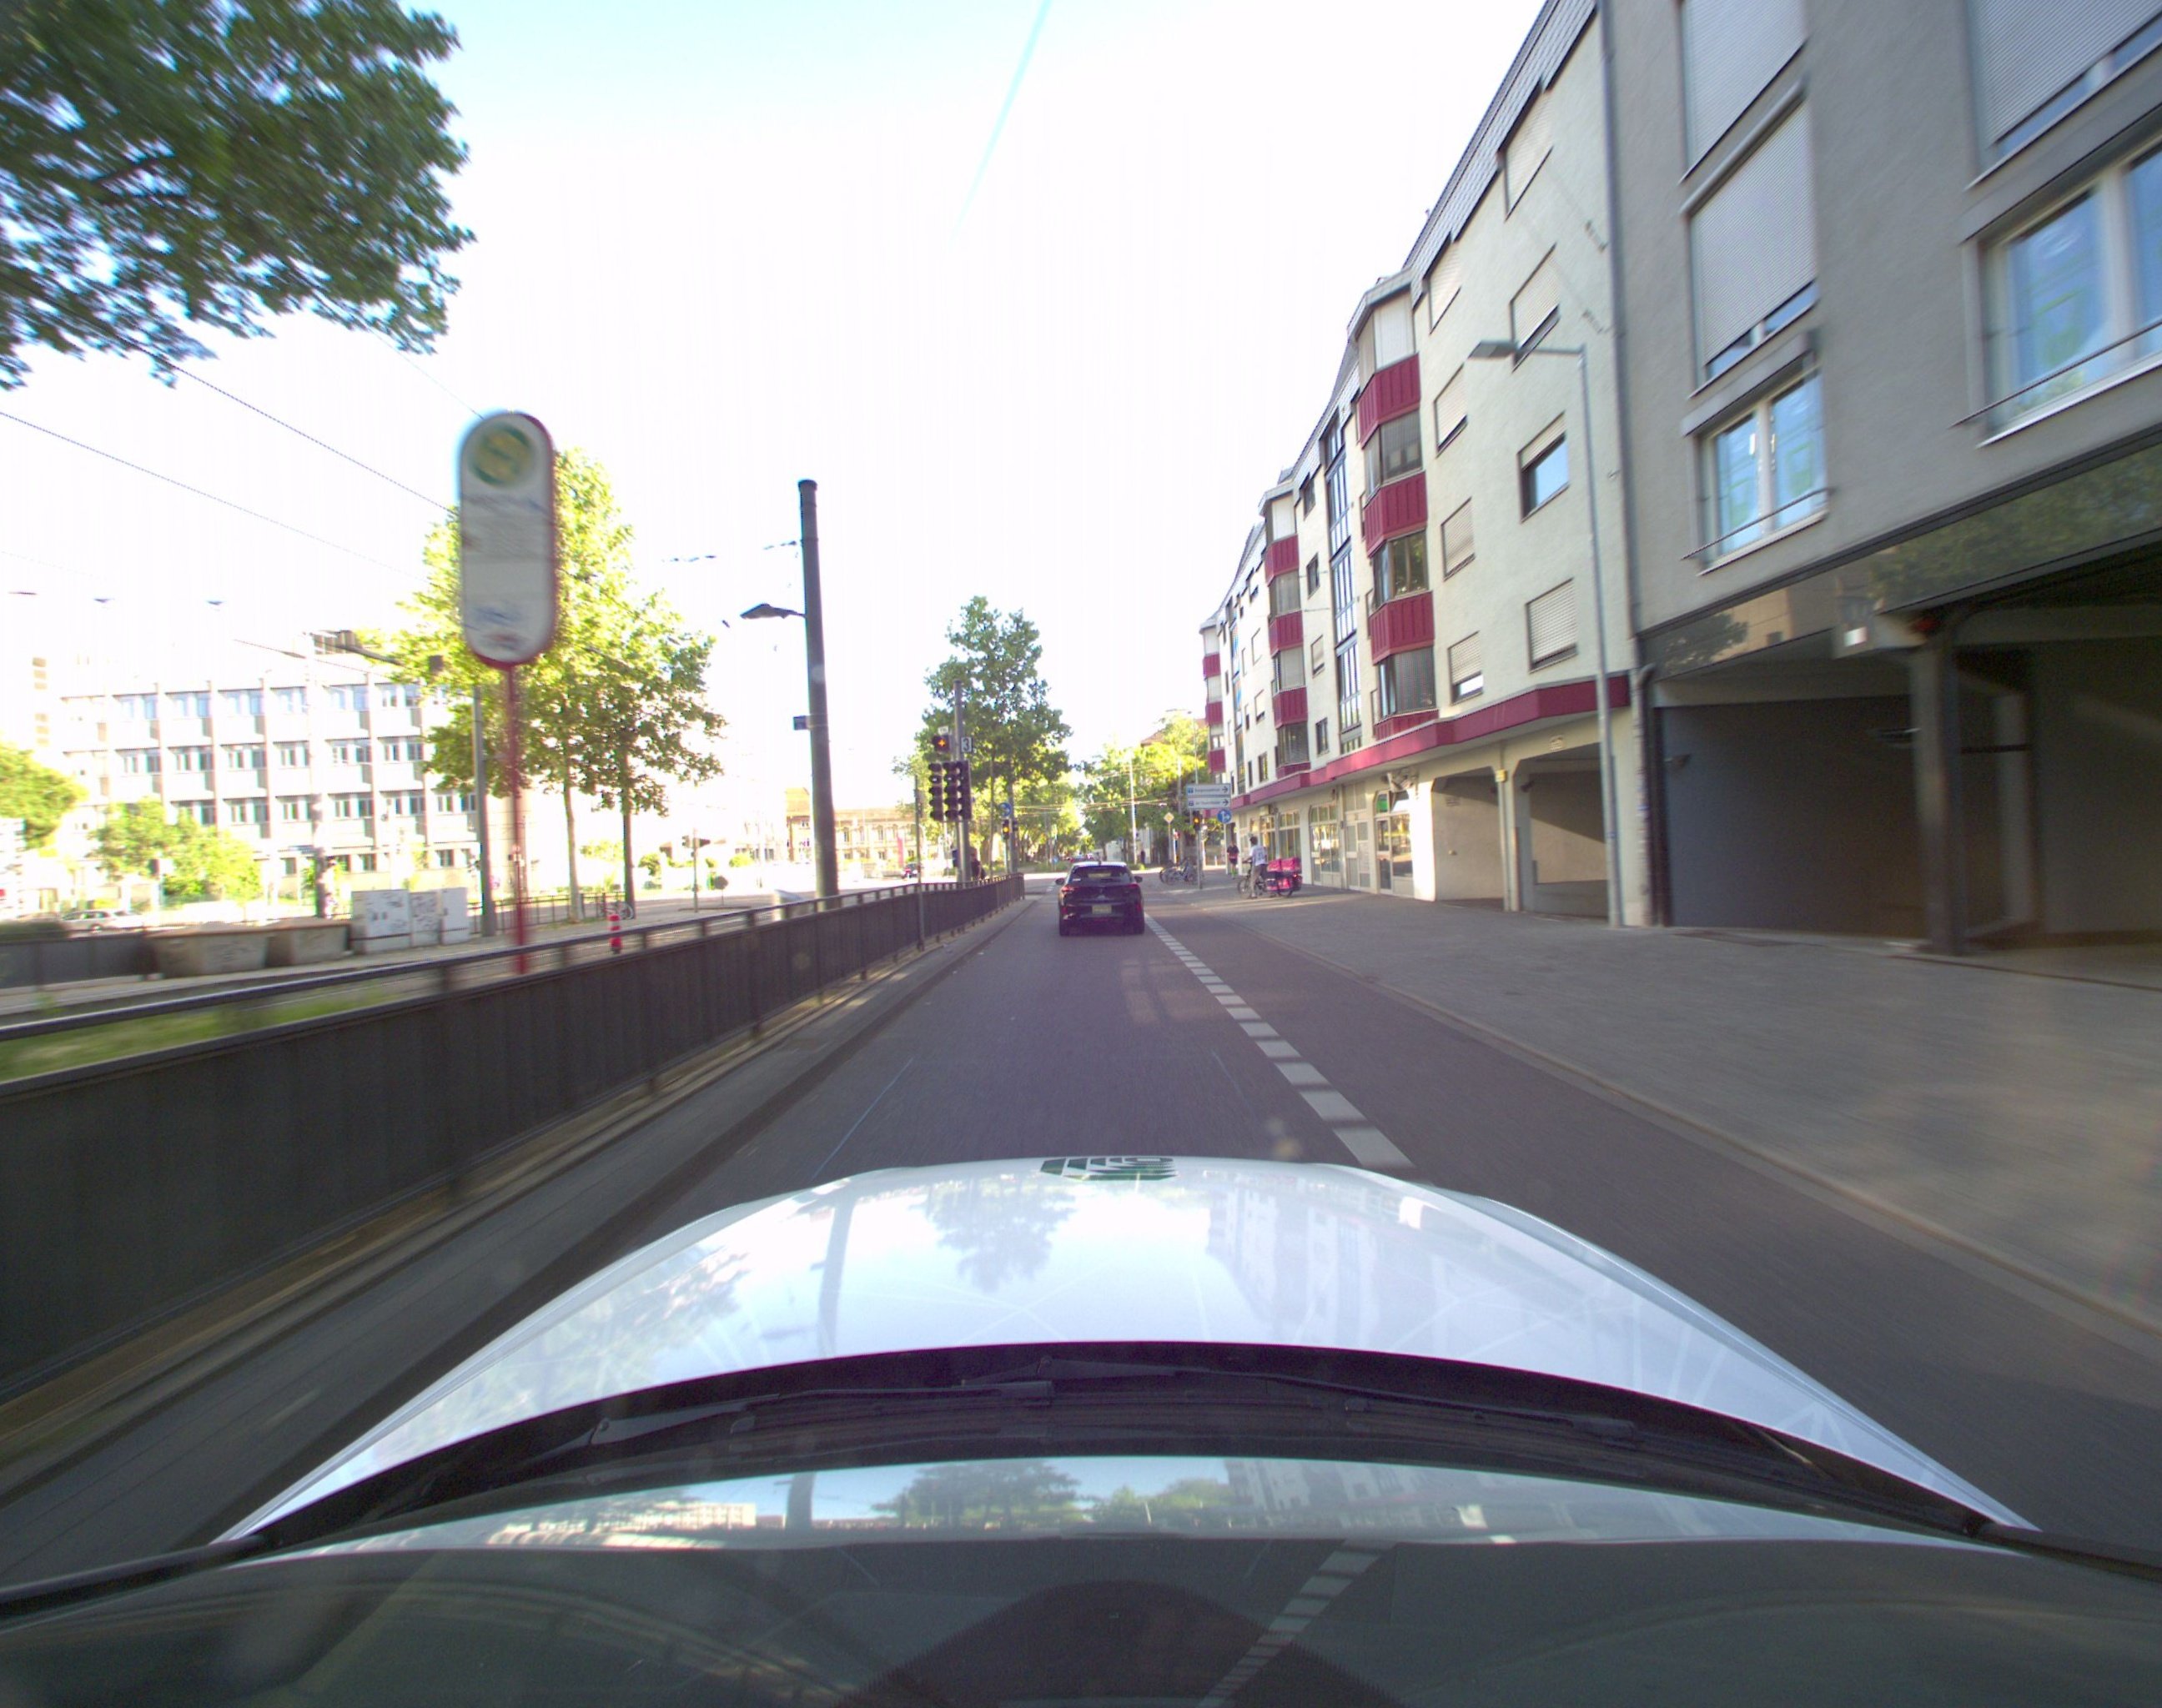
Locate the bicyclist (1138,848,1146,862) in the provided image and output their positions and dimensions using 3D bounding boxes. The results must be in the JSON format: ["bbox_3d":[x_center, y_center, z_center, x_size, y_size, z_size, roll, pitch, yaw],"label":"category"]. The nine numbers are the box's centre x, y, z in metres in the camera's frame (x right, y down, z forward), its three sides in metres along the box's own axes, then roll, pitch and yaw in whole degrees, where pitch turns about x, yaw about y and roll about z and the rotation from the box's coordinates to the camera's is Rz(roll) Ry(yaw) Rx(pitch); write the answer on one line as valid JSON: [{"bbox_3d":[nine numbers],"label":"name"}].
[{"bbox_3d":[6.909,0.113,92.210,0.744,1.510,0.703,-3,0,8],"label":"bicyclist"}]

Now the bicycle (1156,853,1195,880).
[{"bbox_3d":[4.576,0.616,39.412,1.793,1.199,0.546,-3,-1,5],"label":"bicycle"}]

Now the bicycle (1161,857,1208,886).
[{"bbox_3d":[4.643,0.769,36.586,1.935,1.170,0.572,-3,0,-3],"label":"bicycle"}]

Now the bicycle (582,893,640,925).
[{"bbox_3d":[-16.266,1.893,28.238,0.808,0.946,1.729,-3,0,7],"label":"bicycle"}]

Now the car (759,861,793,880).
[{"bbox_3d":[-37.060,1.990,99.096,1.984,2.013,4.732,-3,0,5],"label":"car"}]

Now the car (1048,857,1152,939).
[{"bbox_3d":[0.412,0.831,17.492,1.898,1.425,4.217,-3,0,1],"label":"car"}]

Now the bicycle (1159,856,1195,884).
[{"bbox_3d":[4.542,0.754,38.664,1.615,1.199,0.497,-3,0,5],"label":"bicycle"}]

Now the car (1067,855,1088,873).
[{"bbox_3d":[-0.325,0.959,78.954,1.826,1.622,4.286,-2,0,1],"label":"car"}]

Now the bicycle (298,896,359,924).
[{"bbox_3d":[-35.805,2.670,38.754,2.041,1.189,0.587,-2,0,-17],"label":"bicycle"}]

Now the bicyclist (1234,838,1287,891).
[{"bbox_3d":[5.510,0.320,25.026,1.065,1.540,1.067,-3,0,-37],"label":"bicyclist"}]

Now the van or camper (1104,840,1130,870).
[{"bbox_3d":[4.054,0.122,93.773,2.368,3.125,7.548,-6,0,0],"label":"van or camper"}]

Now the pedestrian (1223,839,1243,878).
[{"bbox_3d":[7.401,0.231,39.700,0.720,1.857,0.801,-3,0,0],"label":"pedestrian"}]

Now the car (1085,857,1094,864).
[{"bbox_3d":[1.910,1.544,181.702,1.898,1.425,4.217,-3,0,1],"label":"car"}]

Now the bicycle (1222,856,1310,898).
[{"bbox_3d":[5.621,0.710,24.909,0.968,1.183,2.569,-3,0,-37],"label":"bicycle"}]

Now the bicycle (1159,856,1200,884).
[{"bbox_3d":[4.580,0.743,38.093,1.823,1.221,0.496,-3,0,3],"label":"bicycle"}]

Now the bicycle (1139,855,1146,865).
[{"bbox_3d":[6.932,0.703,92.220,0.636,1.070,1.955,-3,0,8],"label":"bicycle"}]

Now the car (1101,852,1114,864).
[{"bbox_3d":[3.939,0.596,120.673,1.784,1.510,3.874,-5,0,1],"label":"car"}]

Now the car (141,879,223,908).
[{"bbox_3d":[-71.956,3.143,65.253,1.987,2.013,4.000,-3,0,0],"label":"car"}]

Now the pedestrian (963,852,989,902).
[{"bbox_3d":[-3.800,0.830,29.457,0.730,1.746,0.713,-3,0,5],"label":"pedestrian"}]

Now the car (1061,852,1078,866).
[{"bbox_3d":[-1.411,0.532,97.778,1.987,1.627,4.469,-1,0,0],"label":"car"}]

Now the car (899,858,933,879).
[{"bbox_3d":[-16.862,1.487,83.254,1.983,1.947,4.433,-3,0,7],"label":"car"}]

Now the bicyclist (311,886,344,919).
[{"bbox_3d":[-35.850,2.303,38.760,0.881,1.494,0.719,-2,0,-17],"label":"bicyclist"}]

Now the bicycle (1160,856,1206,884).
[{"bbox_3d":[4.669,0.724,37.215,1.973,1.199,0.590,-3,0,-4],"label":"bicycle"}]

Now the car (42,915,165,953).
[{"bbox_3d":[-54.519,4.437,45.513,3.953,1.697,2.104,-3,0,-7],"label":"car"}]

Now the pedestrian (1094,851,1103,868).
[{"bbox_3d":[2.241,0.702,104.405,1.033,2.024,1.212,-3,0,-1],"label":"pedestrian"}]

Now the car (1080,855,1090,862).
[{"bbox_3d":[0.769,0.922,166.348,1.898,1.425,4.217,-3,0,1],"label":"car"}]

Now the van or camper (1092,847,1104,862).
[{"bbox_3d":[3.508,0.093,167.213,2.477,2.993,5.436,-1,0,1],"label":"van or camper"}]
